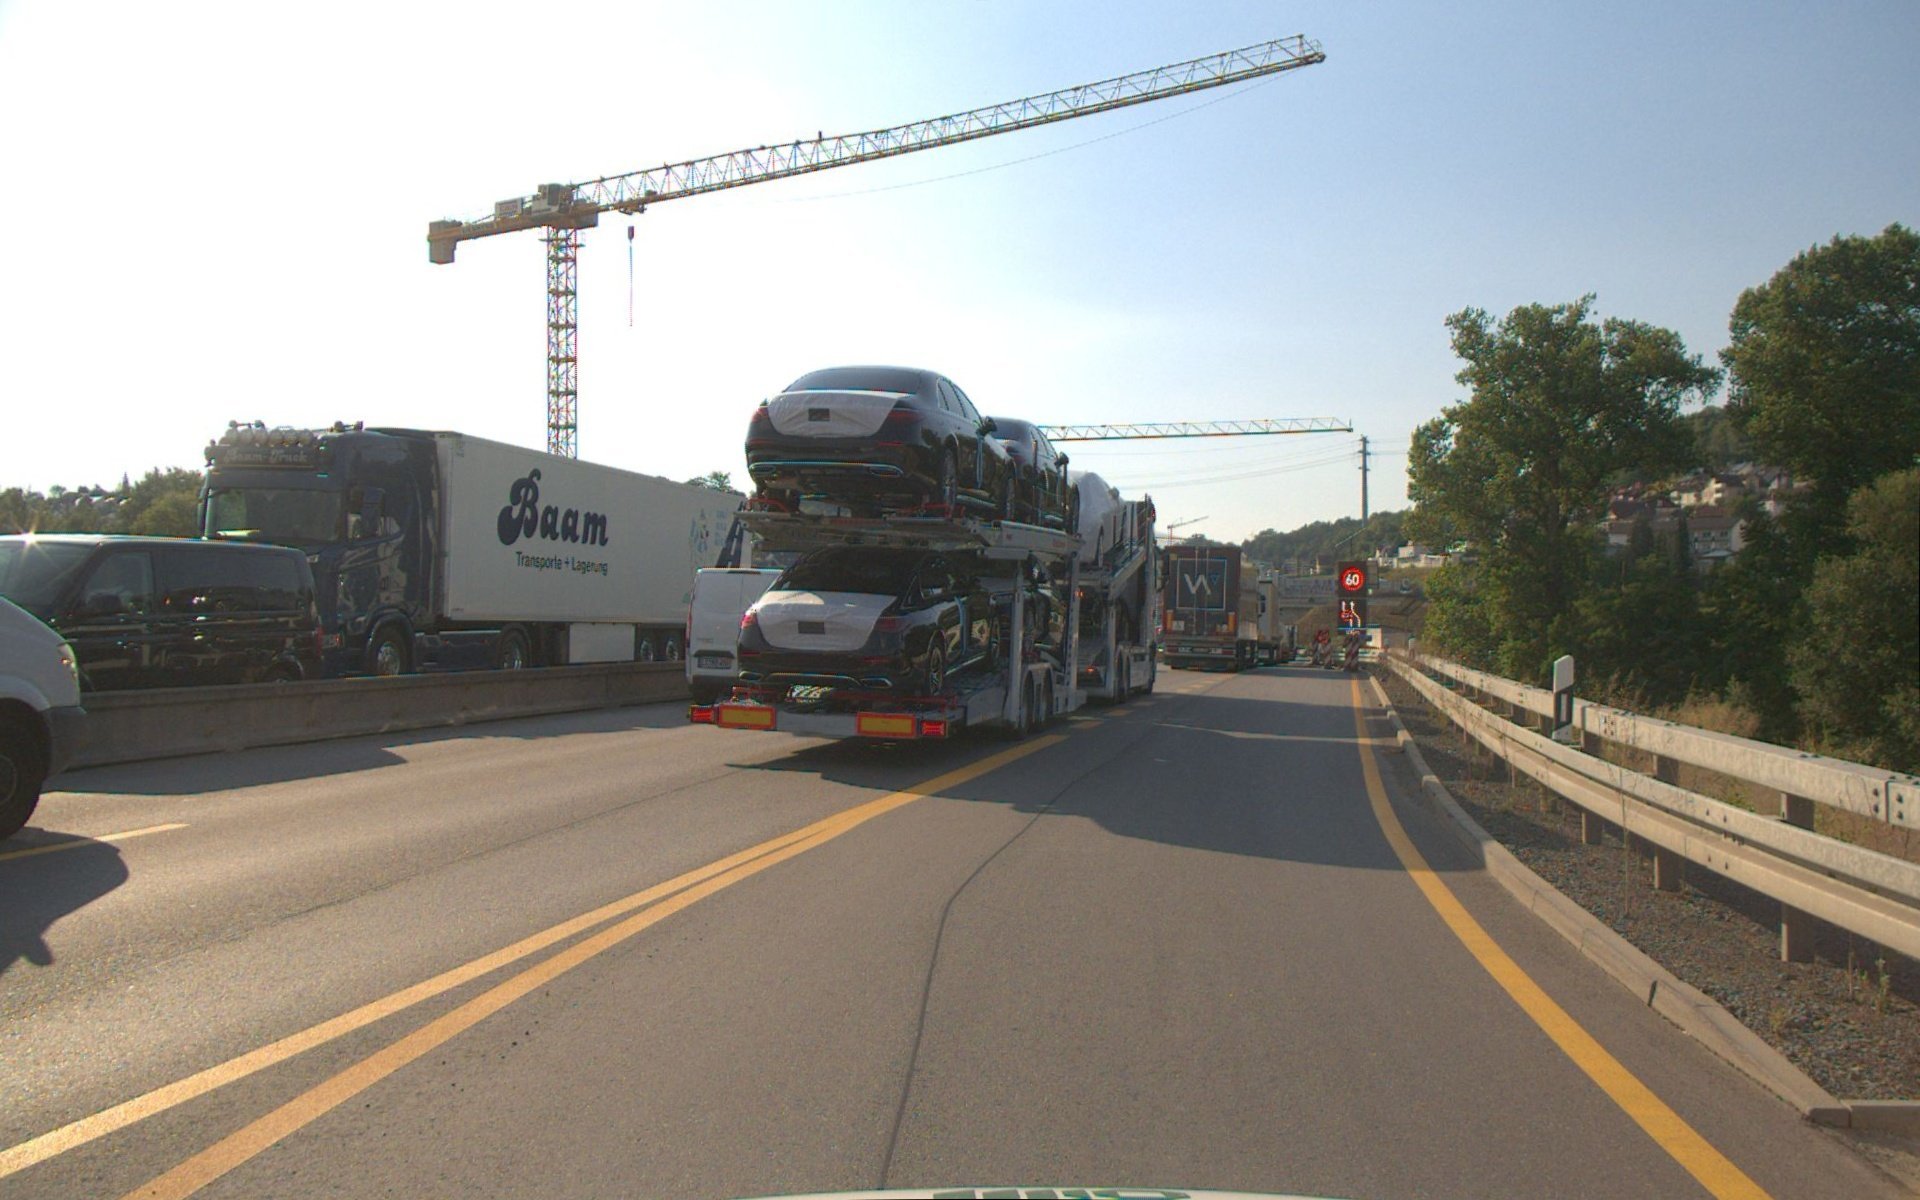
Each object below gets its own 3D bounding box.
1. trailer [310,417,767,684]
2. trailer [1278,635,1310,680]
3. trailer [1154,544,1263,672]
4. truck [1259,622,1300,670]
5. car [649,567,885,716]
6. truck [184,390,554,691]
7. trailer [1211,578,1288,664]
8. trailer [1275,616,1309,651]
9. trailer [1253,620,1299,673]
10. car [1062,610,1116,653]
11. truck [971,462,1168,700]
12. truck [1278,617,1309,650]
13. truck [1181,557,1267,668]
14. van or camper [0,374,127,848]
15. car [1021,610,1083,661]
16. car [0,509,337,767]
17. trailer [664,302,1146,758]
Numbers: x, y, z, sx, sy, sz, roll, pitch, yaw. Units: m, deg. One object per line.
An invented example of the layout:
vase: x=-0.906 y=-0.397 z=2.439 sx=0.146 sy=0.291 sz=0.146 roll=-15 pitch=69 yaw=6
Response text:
trailer: x=-7.478 y=-0.616 z=32.857 sx=2.571 sy=4.138 sz=14.090 roll=-1 pitch=-1 yaw=13
trailer: x=34.747 y=5.885 z=171.781 sx=3.037 sy=4.390 sz=14.262 roll=0 pitch=-1 yaw=12
trailer: x=9.083 y=0.381 z=59.344 sx=2.895 sy=4.164 sz=10.800 roll=-1 pitch=-1 yaw=14
truck: x=27.609 y=3.941 z=142.837 sx=3.317 sy=4.067 sz=6.629 roll=0 pitch=-1 yaw=12
car: x=-2.840 y=0.604 z=25.668 sx=1.985 sy=2.015 sz=4.983 roll=2 pitch=0 yaw=13
truck: x=-9.033 y=-0.752 z=26.099 sx=2.571 sy=4.138 sz=6.134 roll=-1 pitch=-2 yaw=13
trailer: x=15.269 y=1.160 z=86.232 sx=3.312 sy=4.067 sz=14.756 roll=0 pitch=-1 yaw=12
trailer: x=42.999 y=4.363 z=213.951 sx=4.009 sy=4.390 sz=14.262 roll=0 pitch=-1 yaw=12
trailer: x=25.903 y=3.760 z=135.085 sx=3.312 sy=4.067 sz=14.756 roll=0 pitch=-1 yaw=12
car: x=5.301 y=1.286 z=67.517 sx=1.791 sy=1.683 sz=4.003 roll=-1 pitch=-1 yaw=10
truck: x=2.277 y=-0.261 z=31.713 sx=2.787 sy=4.067 sz=6.629 roll=0 pitch=-1 yaw=12
truck: x=44.731 y=4.512 z=221.702 sx=3.942 sy=4.361 sz=6.629 roll=0 pitch=-1 yaw=12
truck: x=10.386 y=0.530 z=64.566 sx=2.823 sy=4.067 sz=6.629 roll=0 pitch=-1 yaw=14
van or camper: x=-6.774 y=0.009 z=7.572 sx=1.951 sy=2.666 sz=5.908 roll=1 pitch=-1 yaw=12
car: x=3.452 y=1.321 z=61.441 sx=1.791 sy=1.783 sz=4.003 roll=-1 pitch=-1 yaw=10
car: x=-8.044 y=0.366 z=15.535 sx=1.951 sy=2.049 sz=4.497 roll=-1 pitch=-2 yaw=13
trailer: x=0.335 y=-0.470 z=22.722 sx=2.796 sy=4.067 sz=15.757 roll=0 pitch=-1 yaw=12
